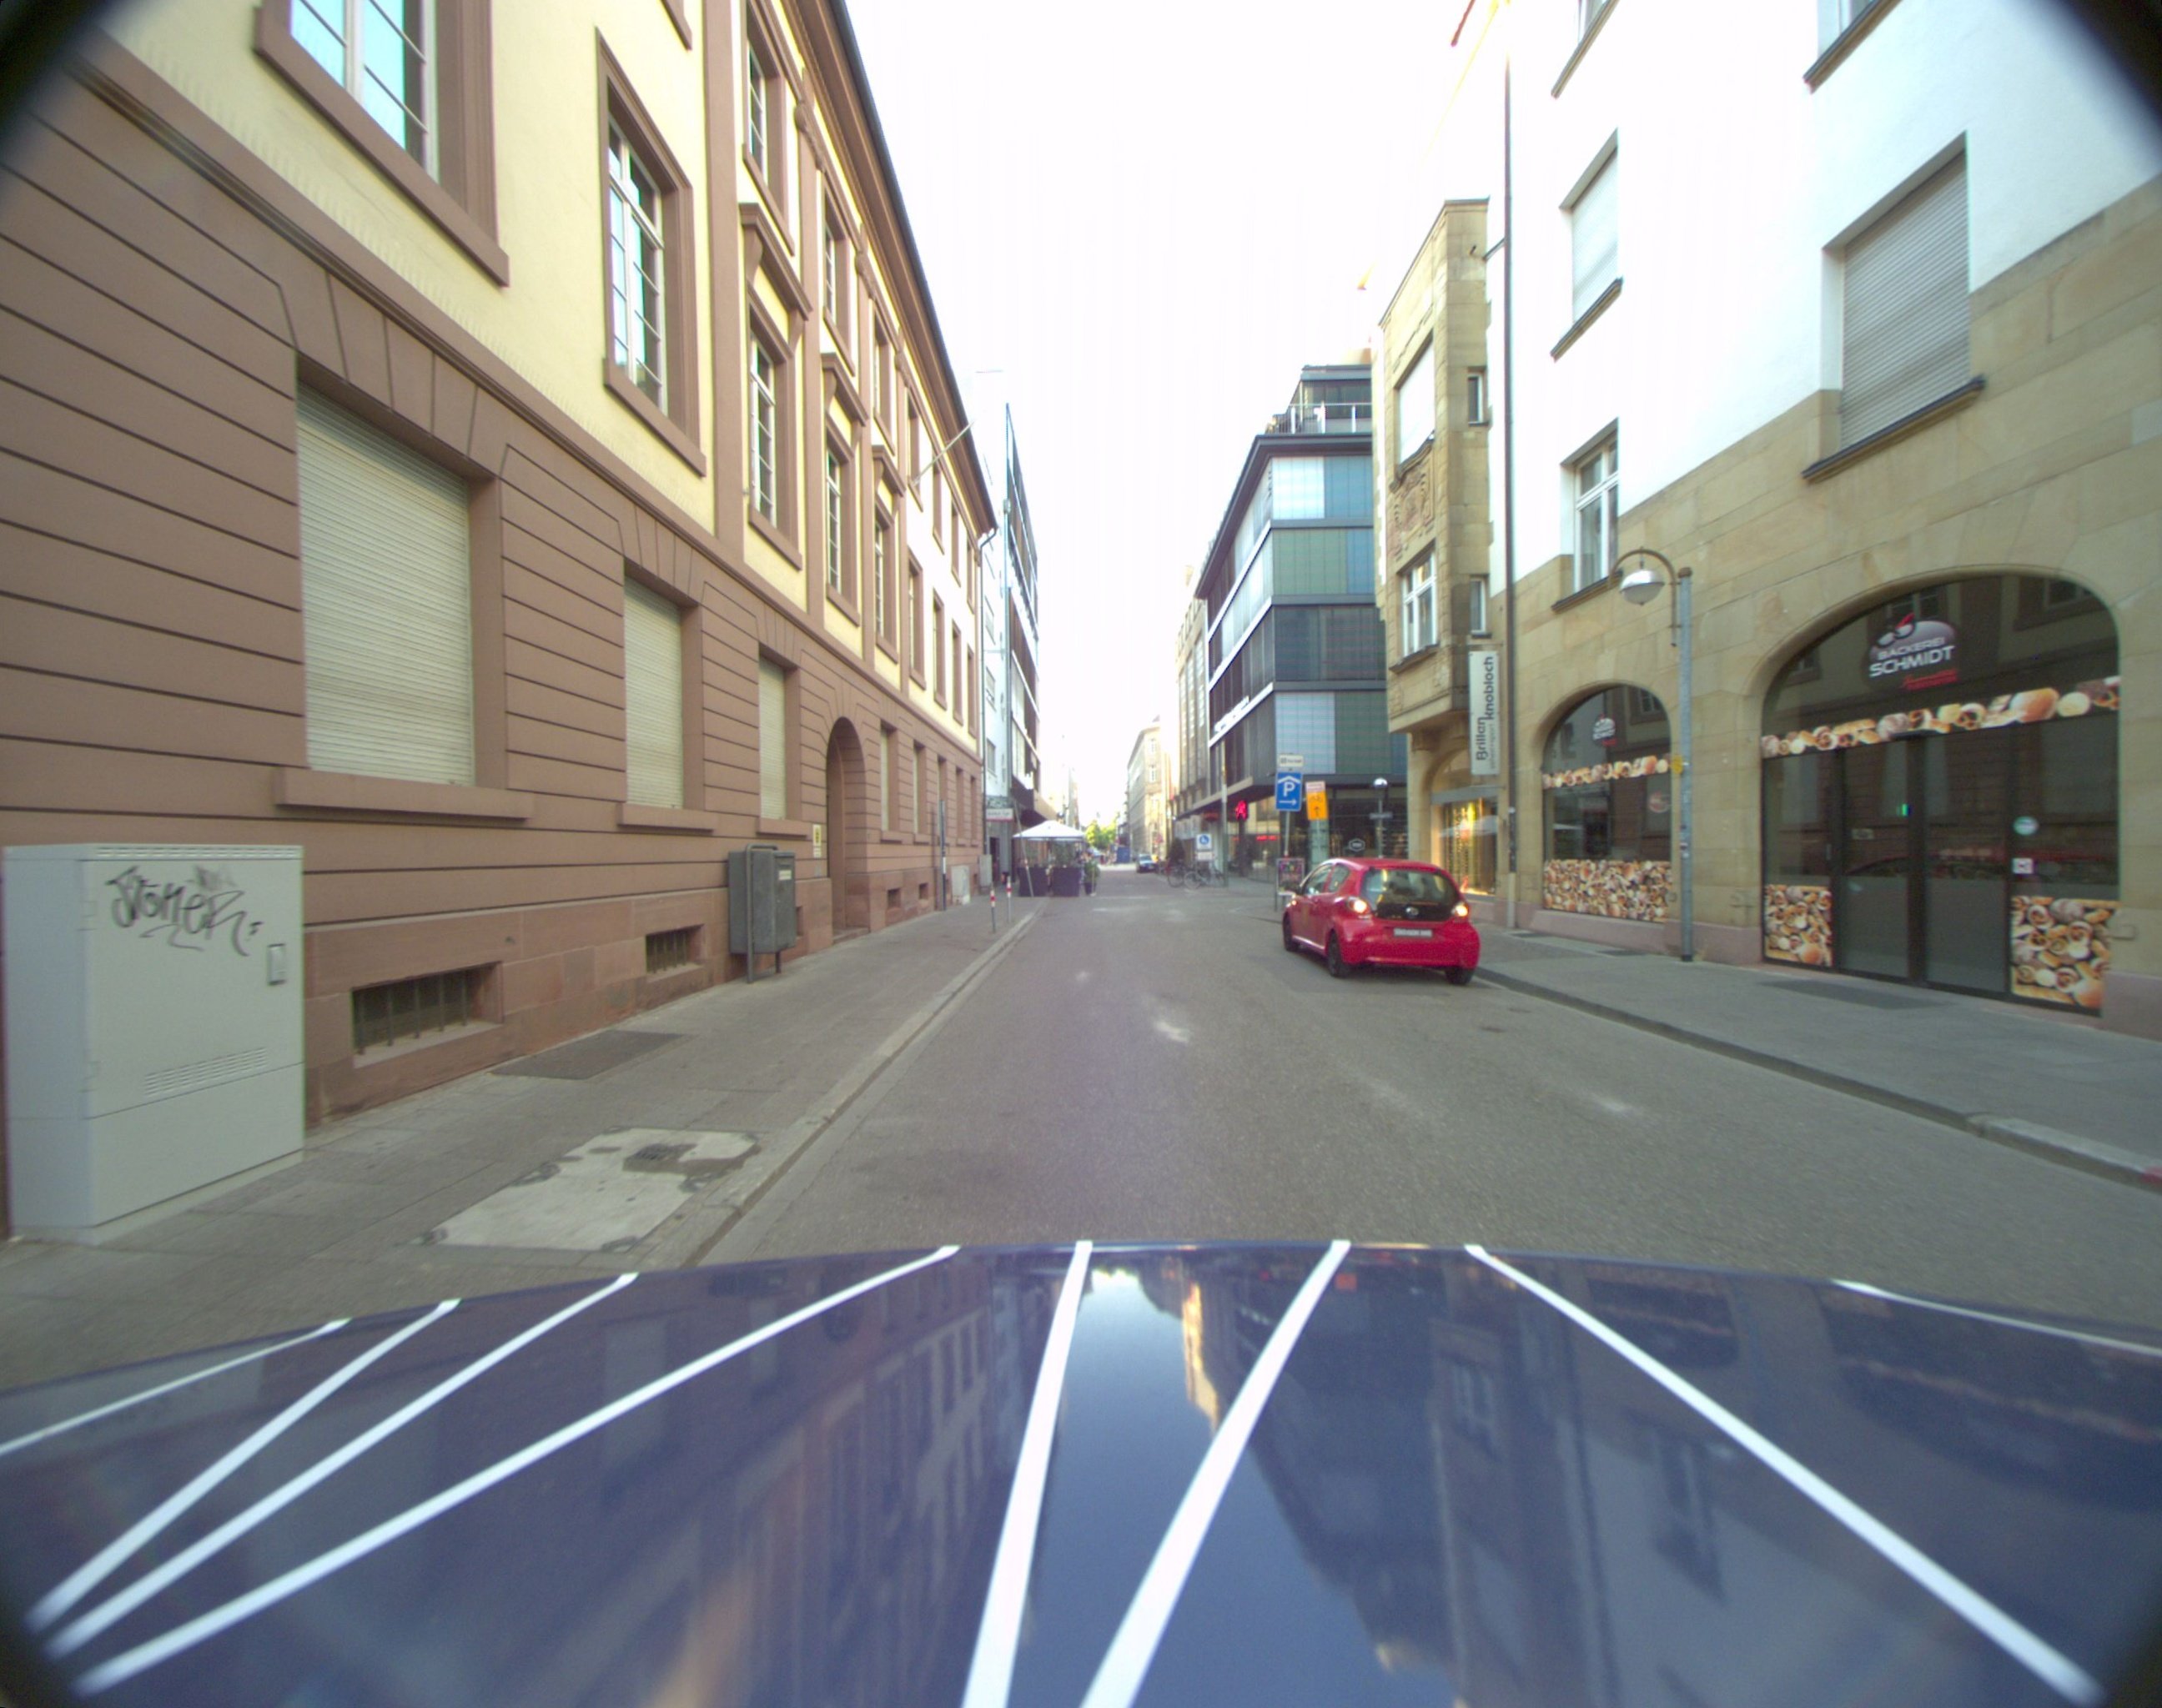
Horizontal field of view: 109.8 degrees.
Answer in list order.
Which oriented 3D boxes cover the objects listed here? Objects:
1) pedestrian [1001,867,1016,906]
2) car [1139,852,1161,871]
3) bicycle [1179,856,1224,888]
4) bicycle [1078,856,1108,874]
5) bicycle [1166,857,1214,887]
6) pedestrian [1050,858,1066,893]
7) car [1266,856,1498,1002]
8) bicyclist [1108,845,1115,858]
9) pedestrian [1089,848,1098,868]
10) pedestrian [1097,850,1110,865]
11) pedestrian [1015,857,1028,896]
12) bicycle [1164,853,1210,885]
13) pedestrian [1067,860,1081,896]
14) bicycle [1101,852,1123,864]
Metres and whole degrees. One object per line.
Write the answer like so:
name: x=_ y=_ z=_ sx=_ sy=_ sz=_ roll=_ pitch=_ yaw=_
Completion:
pedestrian: x=-3.341 y=1.513 z=35.060 sx=0.640 sy=1.762 sz=0.602 roll=-1 pitch=1 yaw=-4
car: x=5.383 y=0.591 z=59.177 sx=1.602 sy=1.414 sz=3.605 roll=-1 pitch=0 yaw=5
bicycle: x=4.821 y=0.731 z=30.412 sx=1.669 sy=1.197 sz=0.509 roll=-3 pitch=1 yaw=0
bicycle: x=0.809 y=0.741 z=52.663 sx=2.038 sy=1.161 sz=0.619 roll=2 pitch=1 yaw=0
bicycle: x=4.597 y=0.751 z=32.021 sx=1.902 sy=1.174 sz=0.517 roll=-3 pitch=-1 yaw=0
pedestrian: x=-0.937 y=0.879 z=31.088 sx=0.575 sy=1.412 sz=0.868 roll=-1 pitch=1 yaw=2
car: x=3.813 y=0.839 z=10.403 sx=1.661 sy=1.461 sz=3.932 roll=3 pitch=1 yaw=2
bicyclist: x=3.355 y=-0.270 z=83.005 sx=0.582 sy=1.393 sz=0.517 roll=-2 pitch=1 yaw=-15
pedestrian: x=1.303 y=0.385 z=78.522 sx=0.804 sy=2.002 sz=0.878 roll=-1 pitch=1 yaw=-6
pedestrian: x=2.518 y=0.376 z=84.353 sx=0.917 sy=1.563 sz=0.995 roll=0 pitch=1 yaw=45
pedestrian: x=-2.048 y=0.766 z=26.115 sx=0.363 sy=1.298 sz=0.494 roll=-1 pitch=1 yaw=-13
bicycle: x=4.829 y=0.684 z=34.702 sx=1.902 sy=1.262 sz=0.538 roll=-5 pitch=1 yaw=2
pedestrian: x=-0.248 y=0.814 z=25.881 sx=0.400 sy=1.206 sz=0.383 roll=-1 pitch=1 yaw=-8
bicycle: x=3.431 y=0.445 z=82.956 sx=2.341 sy=1.182 sz=0.517 roll=-2 pitch=1 yaw=-15
